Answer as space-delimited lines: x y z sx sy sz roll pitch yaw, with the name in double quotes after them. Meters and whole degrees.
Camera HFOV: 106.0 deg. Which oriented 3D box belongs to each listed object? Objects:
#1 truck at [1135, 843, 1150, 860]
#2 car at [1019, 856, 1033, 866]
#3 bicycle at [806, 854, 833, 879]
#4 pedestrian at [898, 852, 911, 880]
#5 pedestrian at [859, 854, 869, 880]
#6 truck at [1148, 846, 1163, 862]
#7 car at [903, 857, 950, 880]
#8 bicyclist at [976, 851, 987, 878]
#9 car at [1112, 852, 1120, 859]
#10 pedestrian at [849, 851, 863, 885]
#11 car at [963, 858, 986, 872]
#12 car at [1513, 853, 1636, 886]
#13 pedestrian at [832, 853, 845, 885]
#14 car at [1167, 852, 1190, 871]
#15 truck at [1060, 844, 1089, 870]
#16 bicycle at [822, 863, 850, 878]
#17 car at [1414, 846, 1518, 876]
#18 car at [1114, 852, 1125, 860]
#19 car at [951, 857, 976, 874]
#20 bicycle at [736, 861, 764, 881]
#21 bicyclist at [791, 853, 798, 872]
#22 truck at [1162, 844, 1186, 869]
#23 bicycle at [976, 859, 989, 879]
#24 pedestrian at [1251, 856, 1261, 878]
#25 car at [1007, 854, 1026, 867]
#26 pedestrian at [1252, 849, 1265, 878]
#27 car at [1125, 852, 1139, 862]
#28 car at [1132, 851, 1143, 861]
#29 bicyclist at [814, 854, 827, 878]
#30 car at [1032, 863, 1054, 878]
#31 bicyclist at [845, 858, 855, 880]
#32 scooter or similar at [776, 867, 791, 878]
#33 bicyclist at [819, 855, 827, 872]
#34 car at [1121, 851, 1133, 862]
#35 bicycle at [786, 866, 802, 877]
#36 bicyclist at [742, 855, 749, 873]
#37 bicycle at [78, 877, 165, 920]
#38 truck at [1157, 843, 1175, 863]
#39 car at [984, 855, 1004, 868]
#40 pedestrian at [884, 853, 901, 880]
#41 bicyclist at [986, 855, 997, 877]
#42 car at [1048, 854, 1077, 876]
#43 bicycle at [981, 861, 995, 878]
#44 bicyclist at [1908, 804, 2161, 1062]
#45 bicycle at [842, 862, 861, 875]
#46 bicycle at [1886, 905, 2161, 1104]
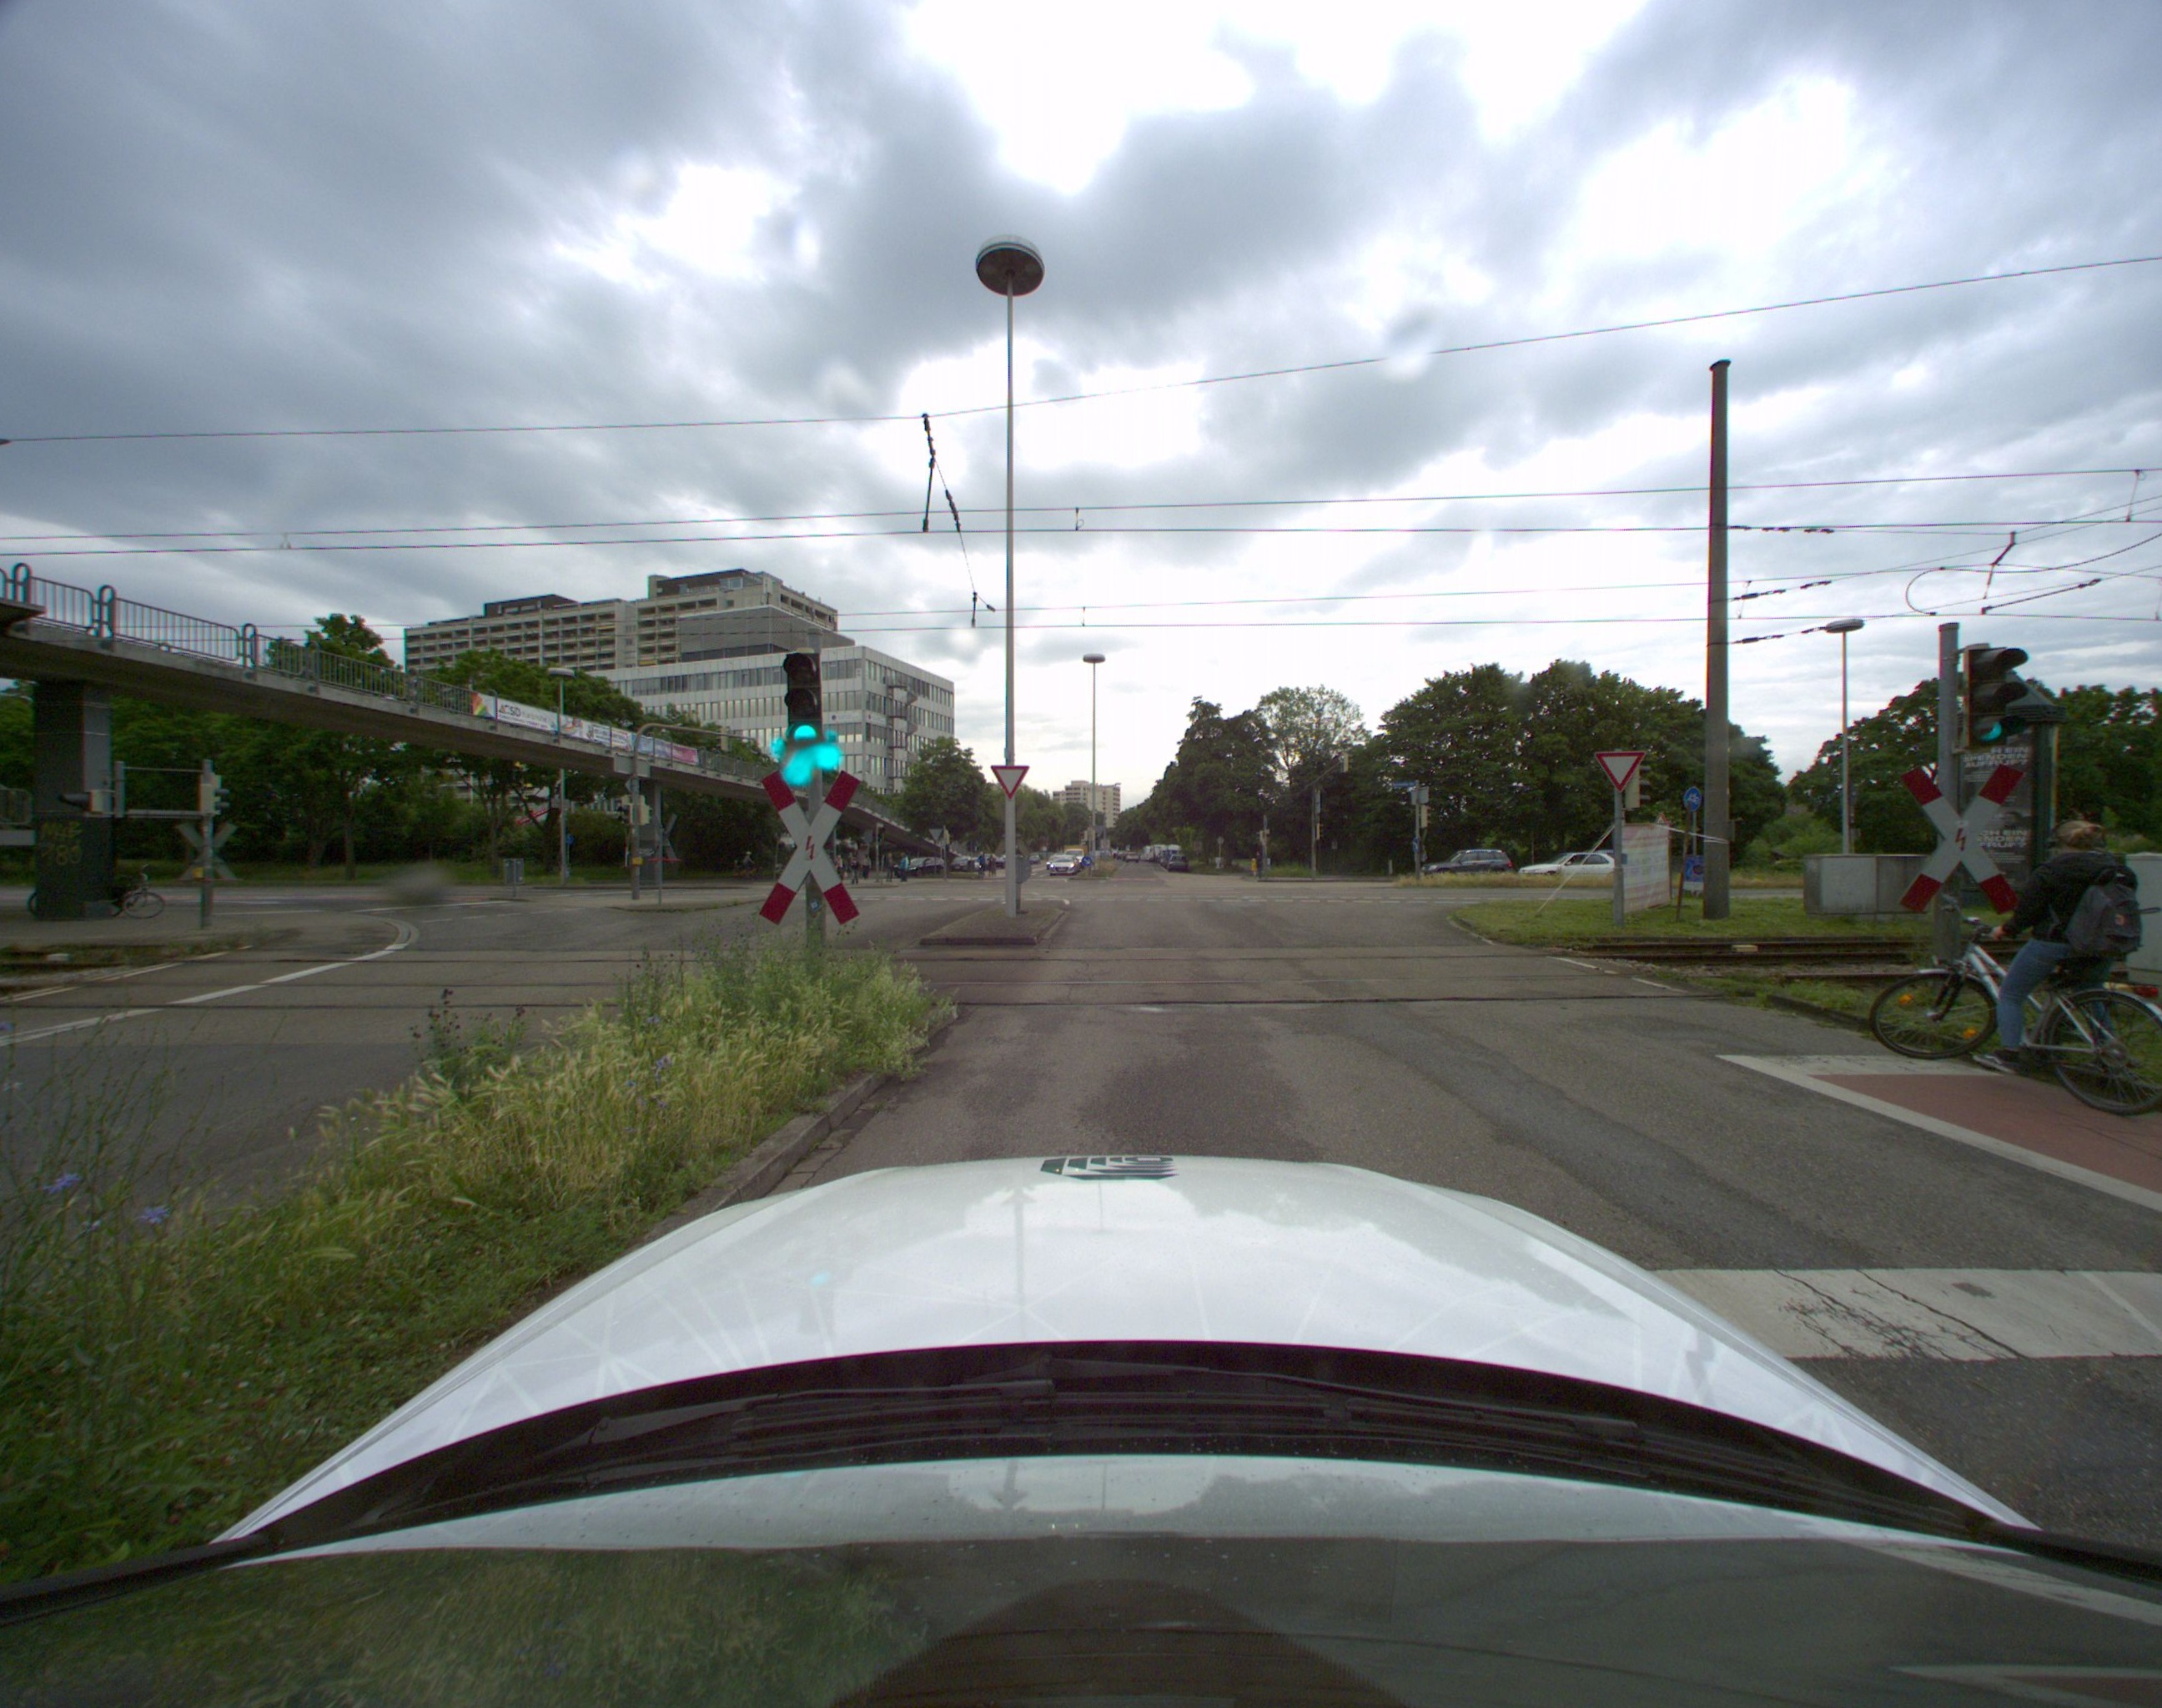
10.803 -0.393 142.914 1.988 3.009 5.768 0 -1 -1 "truck"
-8.584 1.129 126.970 1.665 1.552 4.003 0 0 3 "car"
-17.932 0.846 55.898 0.522 1.625 2.375 0 0 14 "bicycle"
-9.992 0.681 46.131 0.685 1.605 0.487 0 0 -3 "pedestrian"
-13.729 0.818 51.531 0.580 1.579 0.777 0 0 -16 "pedestrian"
12.107 -0.016 132.079 1.987 2.573 5.377 0 -1 0 "truck"
-10.951 0.971 57.913 1.659 1.552 4.017 0 0 16 "car"
-6.667 0.694 54.778 0.642 1.768 0.647 0 0 1 "bicyclist"
7.681 0.403 180.737 1.549 1.505 4.000 0 0 0 "car"
-12.080 0.722 43.758 0.636 1.803 0.800 0 0 -7 "pedestrian"
-10.856 1.117 83.582 1.665 1.387 3.898 0 0 3 "car"
20.478 0.633 33.890 4.120 1.357 1.648 0 0 2 "car"
-12.887 0.777 43.251 0.619 1.691 0.403 0 0 -12 "pedestrian"
8.801 0.649 73.891 1.777 1.662 4.002 0 0 2 "car"
-0.520 0.254 71.684 2.146 2.199 5.845 0 0 3 "truck"
-16.900 1.117 56.213 0.755 0.949 1.964 0 0 23 "bicycle"
19.567 0.356 41.512 4.447 1.504 1.847 0 0 2 "car"
7.291 0.435 155.704 2.013 1.505 4.002 0 0 2 "car"
-11.201 1.055 78.091 1.665 1.552 3.894 0 0 3 "car"
-22.195 1.122 54.597 1.712 1.304 0.386 0 0 -23 "bicycle"
-20.207 0.608 57.474 0.275 1.303 0.386 0 0 19 "bicyclist"
10.282 0.242 90.669 2.166 2.656 6.249 -1 -1 2 "truck"
-6.663 0.987 55.059 0.541 1.267 2.112 0 0 2 "bicycle"
10.709 0.795 49.805 0.525 1.342 0.525 0 0 1 "pedestrian"
-7.067 0.706 89.210 1.505 1.390 3.538 0 -1 5 "car"
10.692 0.574 49.083 0.654 1.750 0.459 0 0 1 "pedestrian"
8.129 0.519 129.564 2.013 1.505 4.002 0 0 2 "car"
10.990 0.315 158.959 1.647 1.918 3.916 0 1 -2 "car"
-17.932 0.846 55.985 0.522 1.625 0.753 0 0 14 "bicyclist"
-3.815 1.641 82.033 1.763 1.477 4.392 0 0 2 "car"
-16.809 1.090 59.328 0.563 1.644 0.532 0 -1 2 "bicyclist"
-20.608 1.260 56.358 0.401 0.715 1.002 0 0 21 "scooter or similar"
-17.747 0.631 56.009 0.403 1.181 0.378 0 0 4 "bicyclist"
8.065 0.458 142.746 2.013 1.958 4.002 0 0 2 "car"
-20.222 1.224 57.433 0.287 0.692 1.304 0 0 19 "bicycle"
-22.435 0.670 54.498 0.407 1.253 0.275 0 0 -23 "bicyclist"
-21.739 0.997 18.443 2.017 0.921 0.375 0 0 13 "bicycle"
12.509 -0.128 119.988 1.988 2.838 5.727 0 0 -2 "truck"
-10.126 0.846 94.617 1.757 1.395 4.002 0 0 2 "car"
-10.726 0.718 46.312 0.917 1.511 0.402 0 0 -10 "pedestrian"
-6.458 0.878 58.504 0.676 1.594 0.695 0 -1 1 "bicyclist"
-1.271 0.739 57.933 1.782 1.519 4.327 0 0 2 "car"
-6.589 1.088 57.763 0.724 1.101 2.265 0 0 2 "bicycle"
5.973 0.452 5.068 0.619 1.424 0.961 4 0 1 "bicyclist"
-16.729 1.059 59.413 0.628 0.925 2.524 0 0 2 "bicycle"
6.008 0.855 4.890 0.381 0.980 2.030 0 -1 2 "bicycle"
